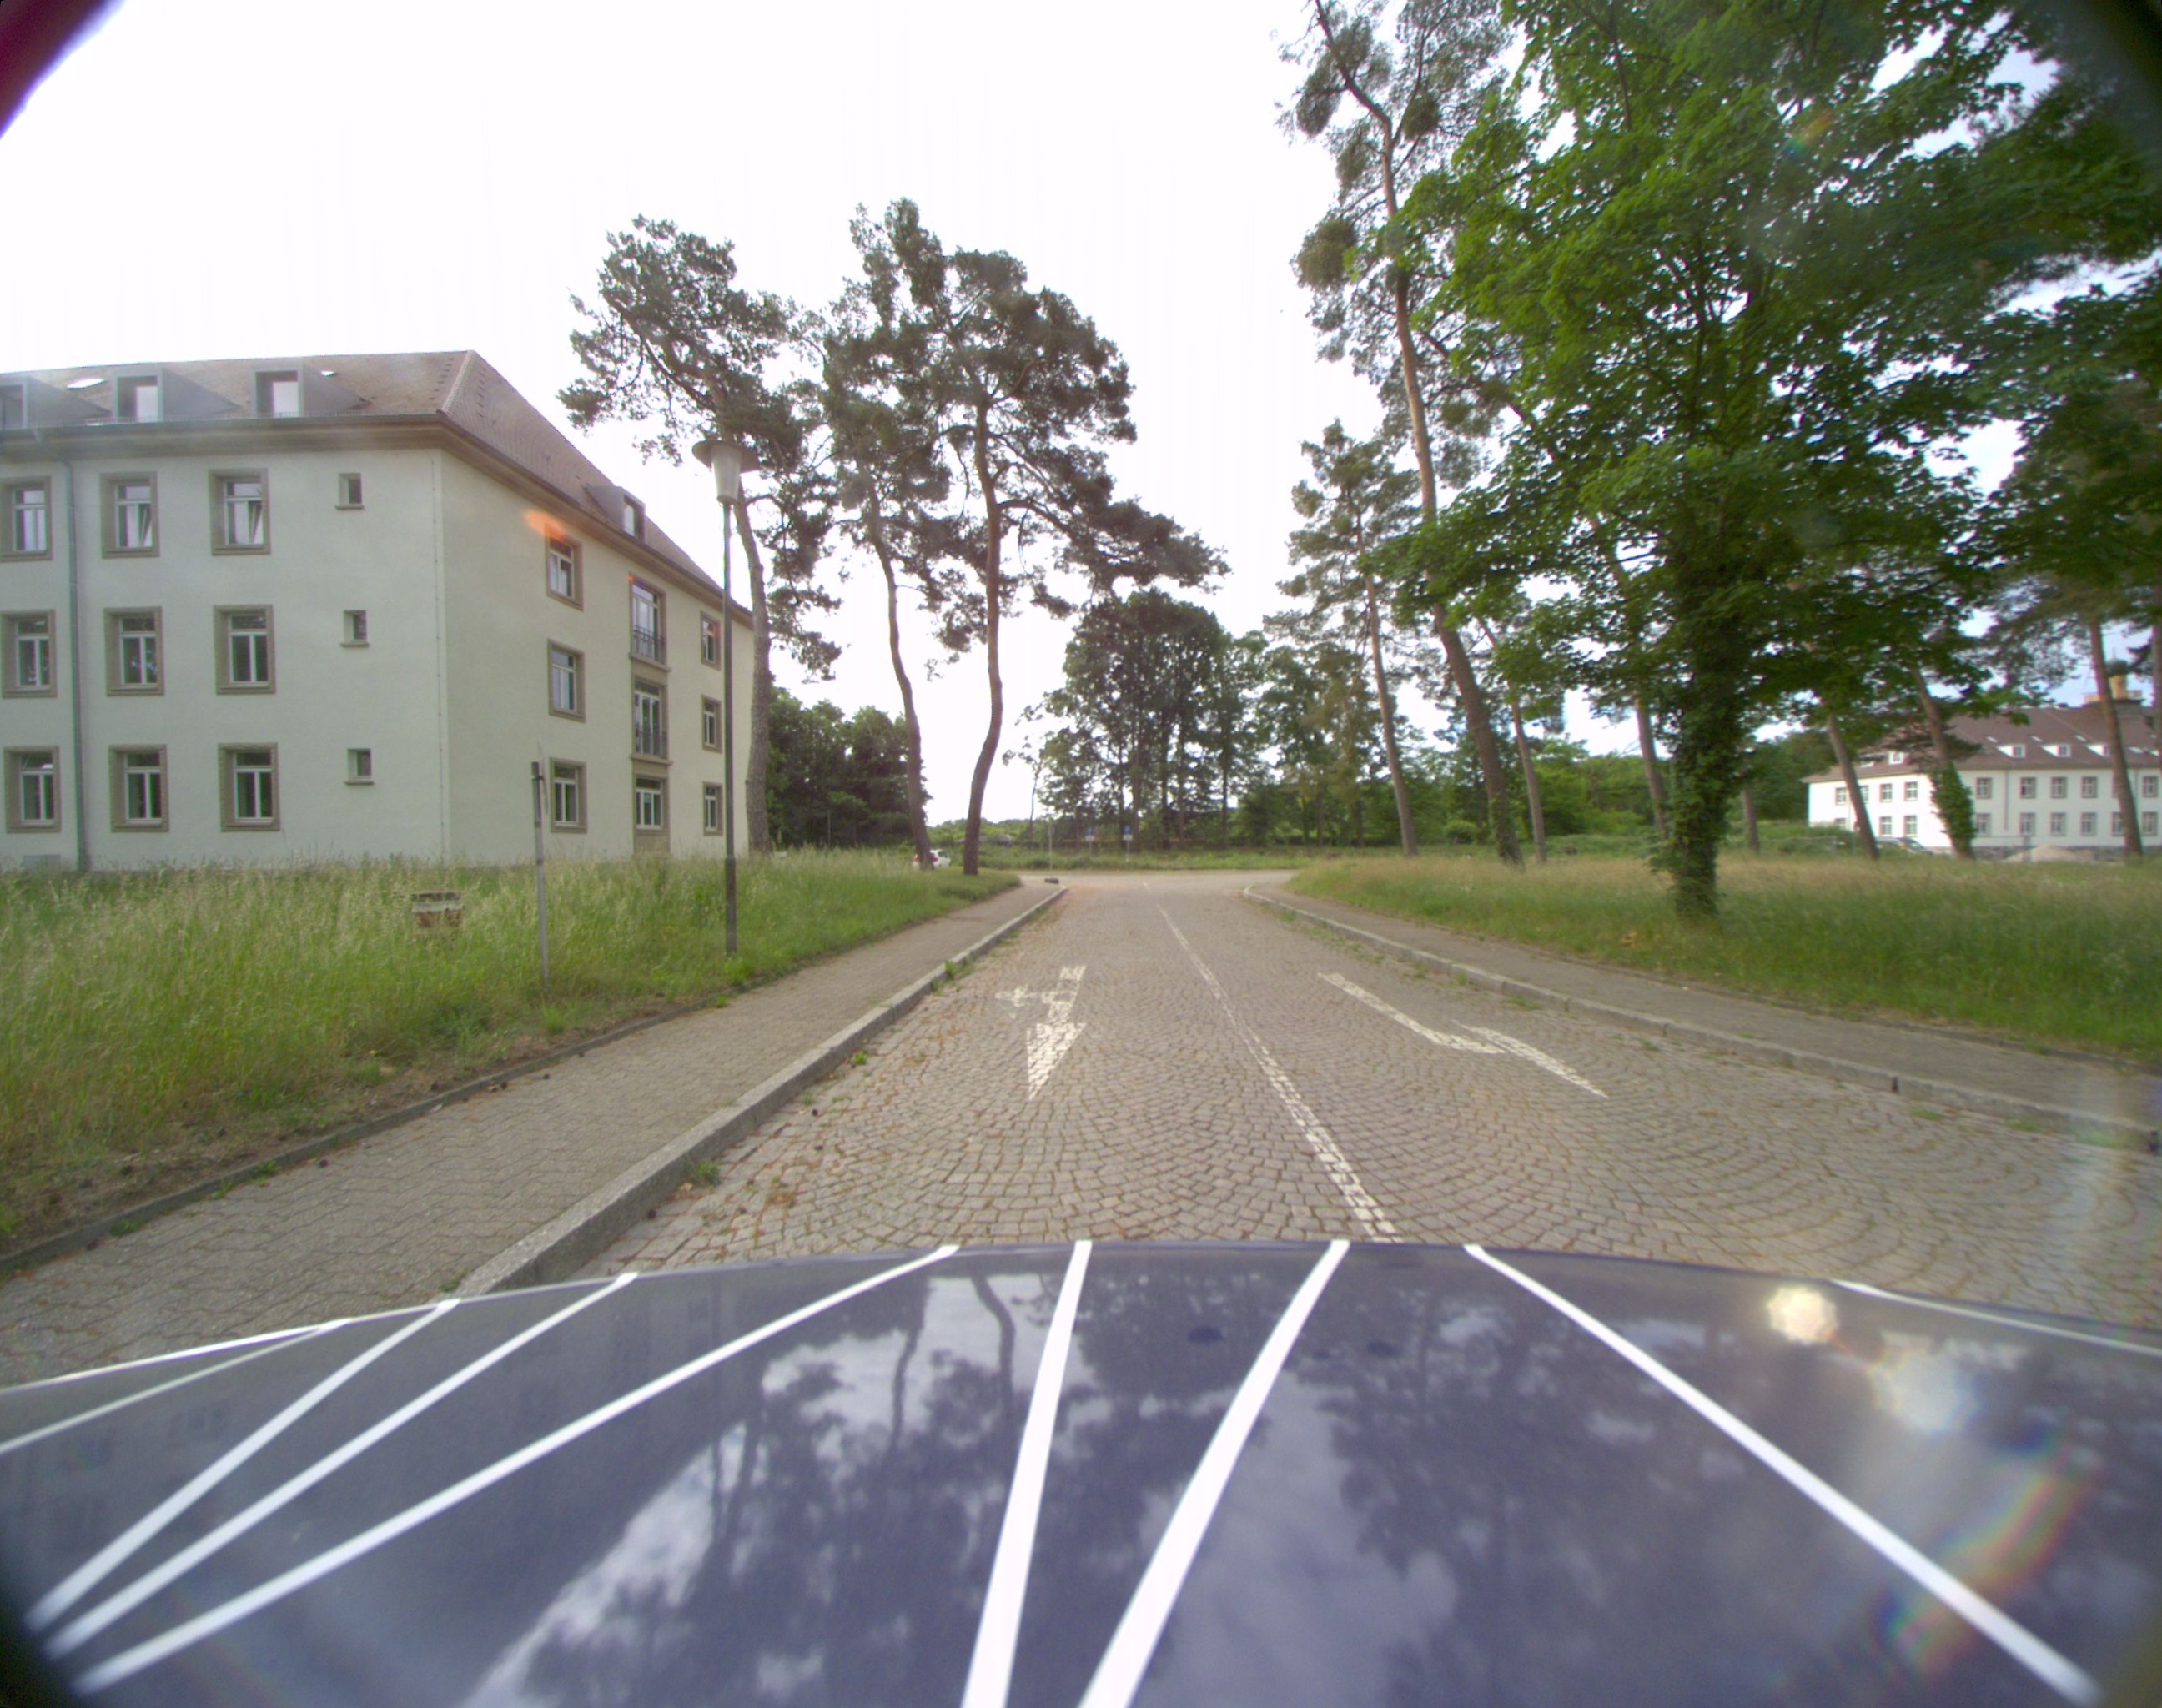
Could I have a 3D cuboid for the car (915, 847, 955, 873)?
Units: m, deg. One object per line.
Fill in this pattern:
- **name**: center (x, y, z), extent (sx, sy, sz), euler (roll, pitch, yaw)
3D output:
- **car**: center (-9.019, 0.330, 47.042), extent (1.640, 1.426, 3.277), euler (0, 3, 3)
